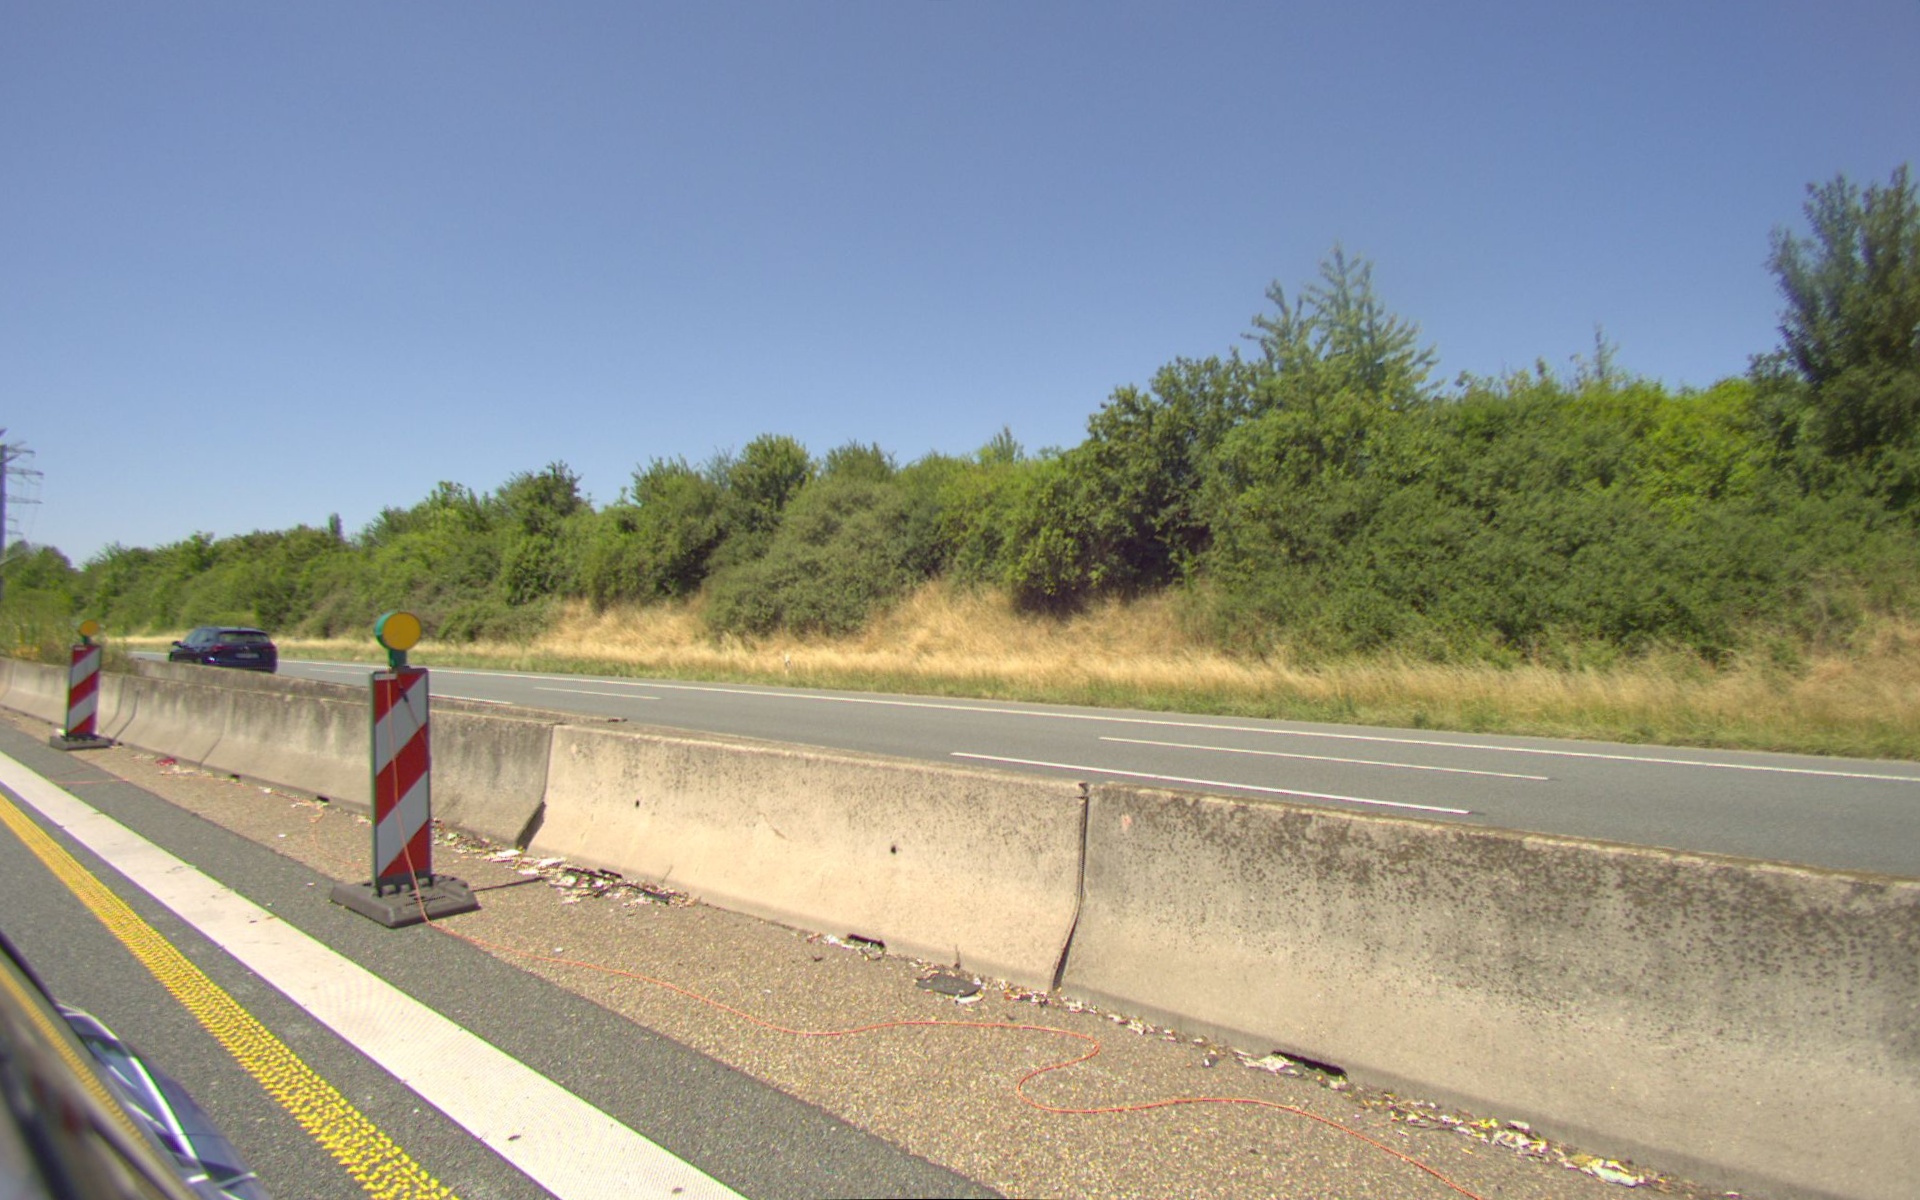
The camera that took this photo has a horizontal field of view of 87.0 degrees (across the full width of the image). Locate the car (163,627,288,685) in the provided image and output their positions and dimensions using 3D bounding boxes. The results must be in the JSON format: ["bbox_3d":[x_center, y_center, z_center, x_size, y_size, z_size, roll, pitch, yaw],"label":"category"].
[{"bbox_3d":[-20.454,1.511,28.110,4.491,1.502,1.843,-2,-3,41],"label":"car"}]
